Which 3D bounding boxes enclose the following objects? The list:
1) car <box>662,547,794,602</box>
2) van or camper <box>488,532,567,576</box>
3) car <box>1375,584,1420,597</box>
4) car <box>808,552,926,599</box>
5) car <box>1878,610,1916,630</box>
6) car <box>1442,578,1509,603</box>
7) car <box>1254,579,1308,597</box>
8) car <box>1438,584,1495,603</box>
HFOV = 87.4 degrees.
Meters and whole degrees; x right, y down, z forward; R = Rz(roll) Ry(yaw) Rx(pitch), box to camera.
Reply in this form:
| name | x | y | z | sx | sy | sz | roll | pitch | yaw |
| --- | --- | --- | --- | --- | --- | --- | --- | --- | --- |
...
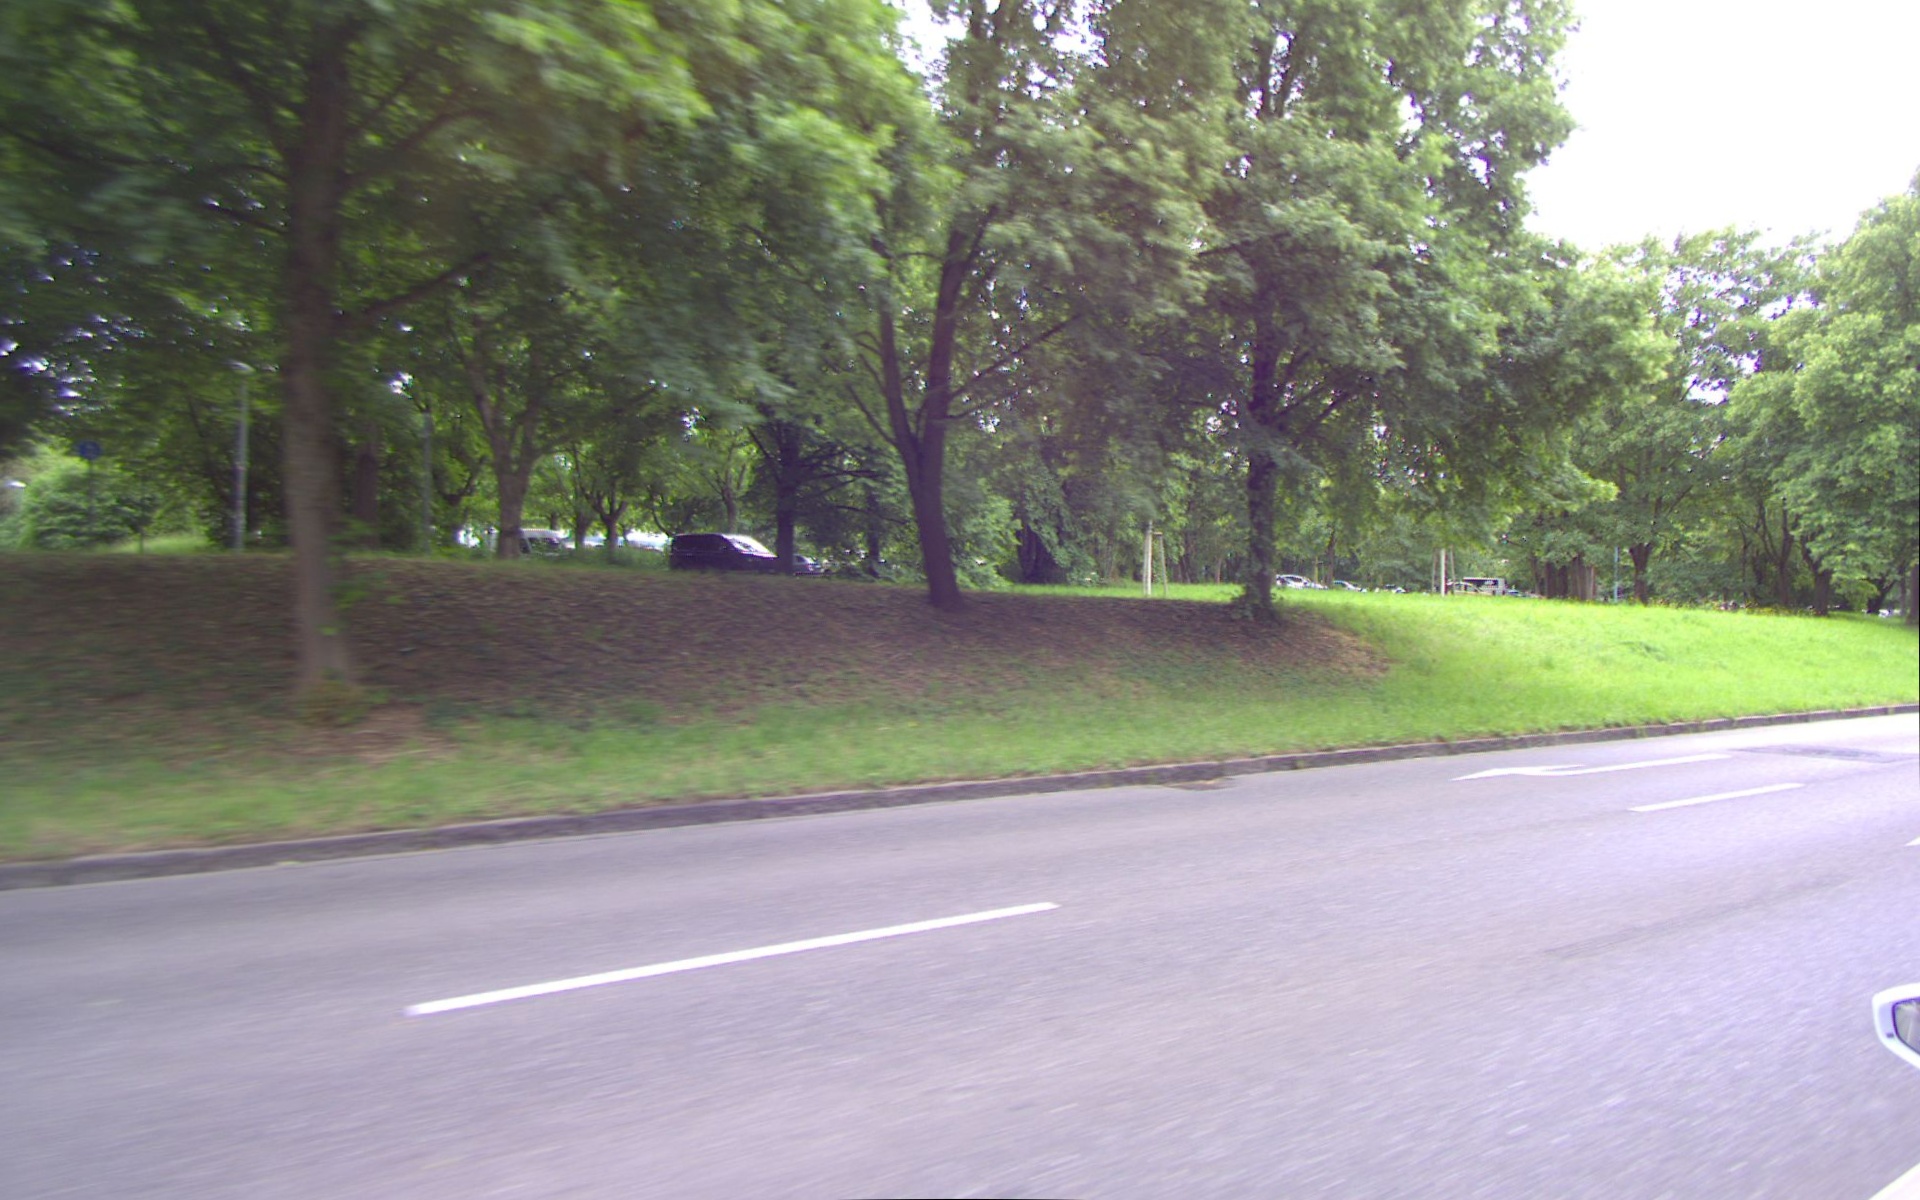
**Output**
| name | x | y | z | sx | sy | sz | roll | pitch | yaw |
| --- | --- | --- | --- | --- | --- | --- | --- | --- | --- |
| car | -8.710 | -0.951 | 37.574 | 4.821 | 1.921 | 1.995 | 2 | 0 | 34 |
| van or camper | -21.429 | -2.236 | 49.705 | 4.158 | 2.040 | 1.916 | 1 | 0 | 40 |
| car | 44.846 | -1.006 | 102.922 | 3.920 | 1.226 | 1.897 | 1 | 0 | 36 |
| car | -4.171 | -1.081 | 44.645 | 4.821 | 1.921 | 2.315 | 2 | 0 | 34 |
| car | 73.776 | 1.575 | 79.130 | 1.624 | 1.506 | 3.986 | 2 | 0 | 36 |
| car | 37.279 | -0.667 | 72.680 | 4.049 | 1.706 | 1.747 | 2 | 0 | 37 |
| car | 22.823 | -0.853 | 71.418 | 3.448 | 1.250 | 1.396 | 2 | 0 | 33 |
| car | 35.569 | -0.482 | 70.511 | 3.448 | 1.226 | 1.396 | 2 | 0 | 33 |
